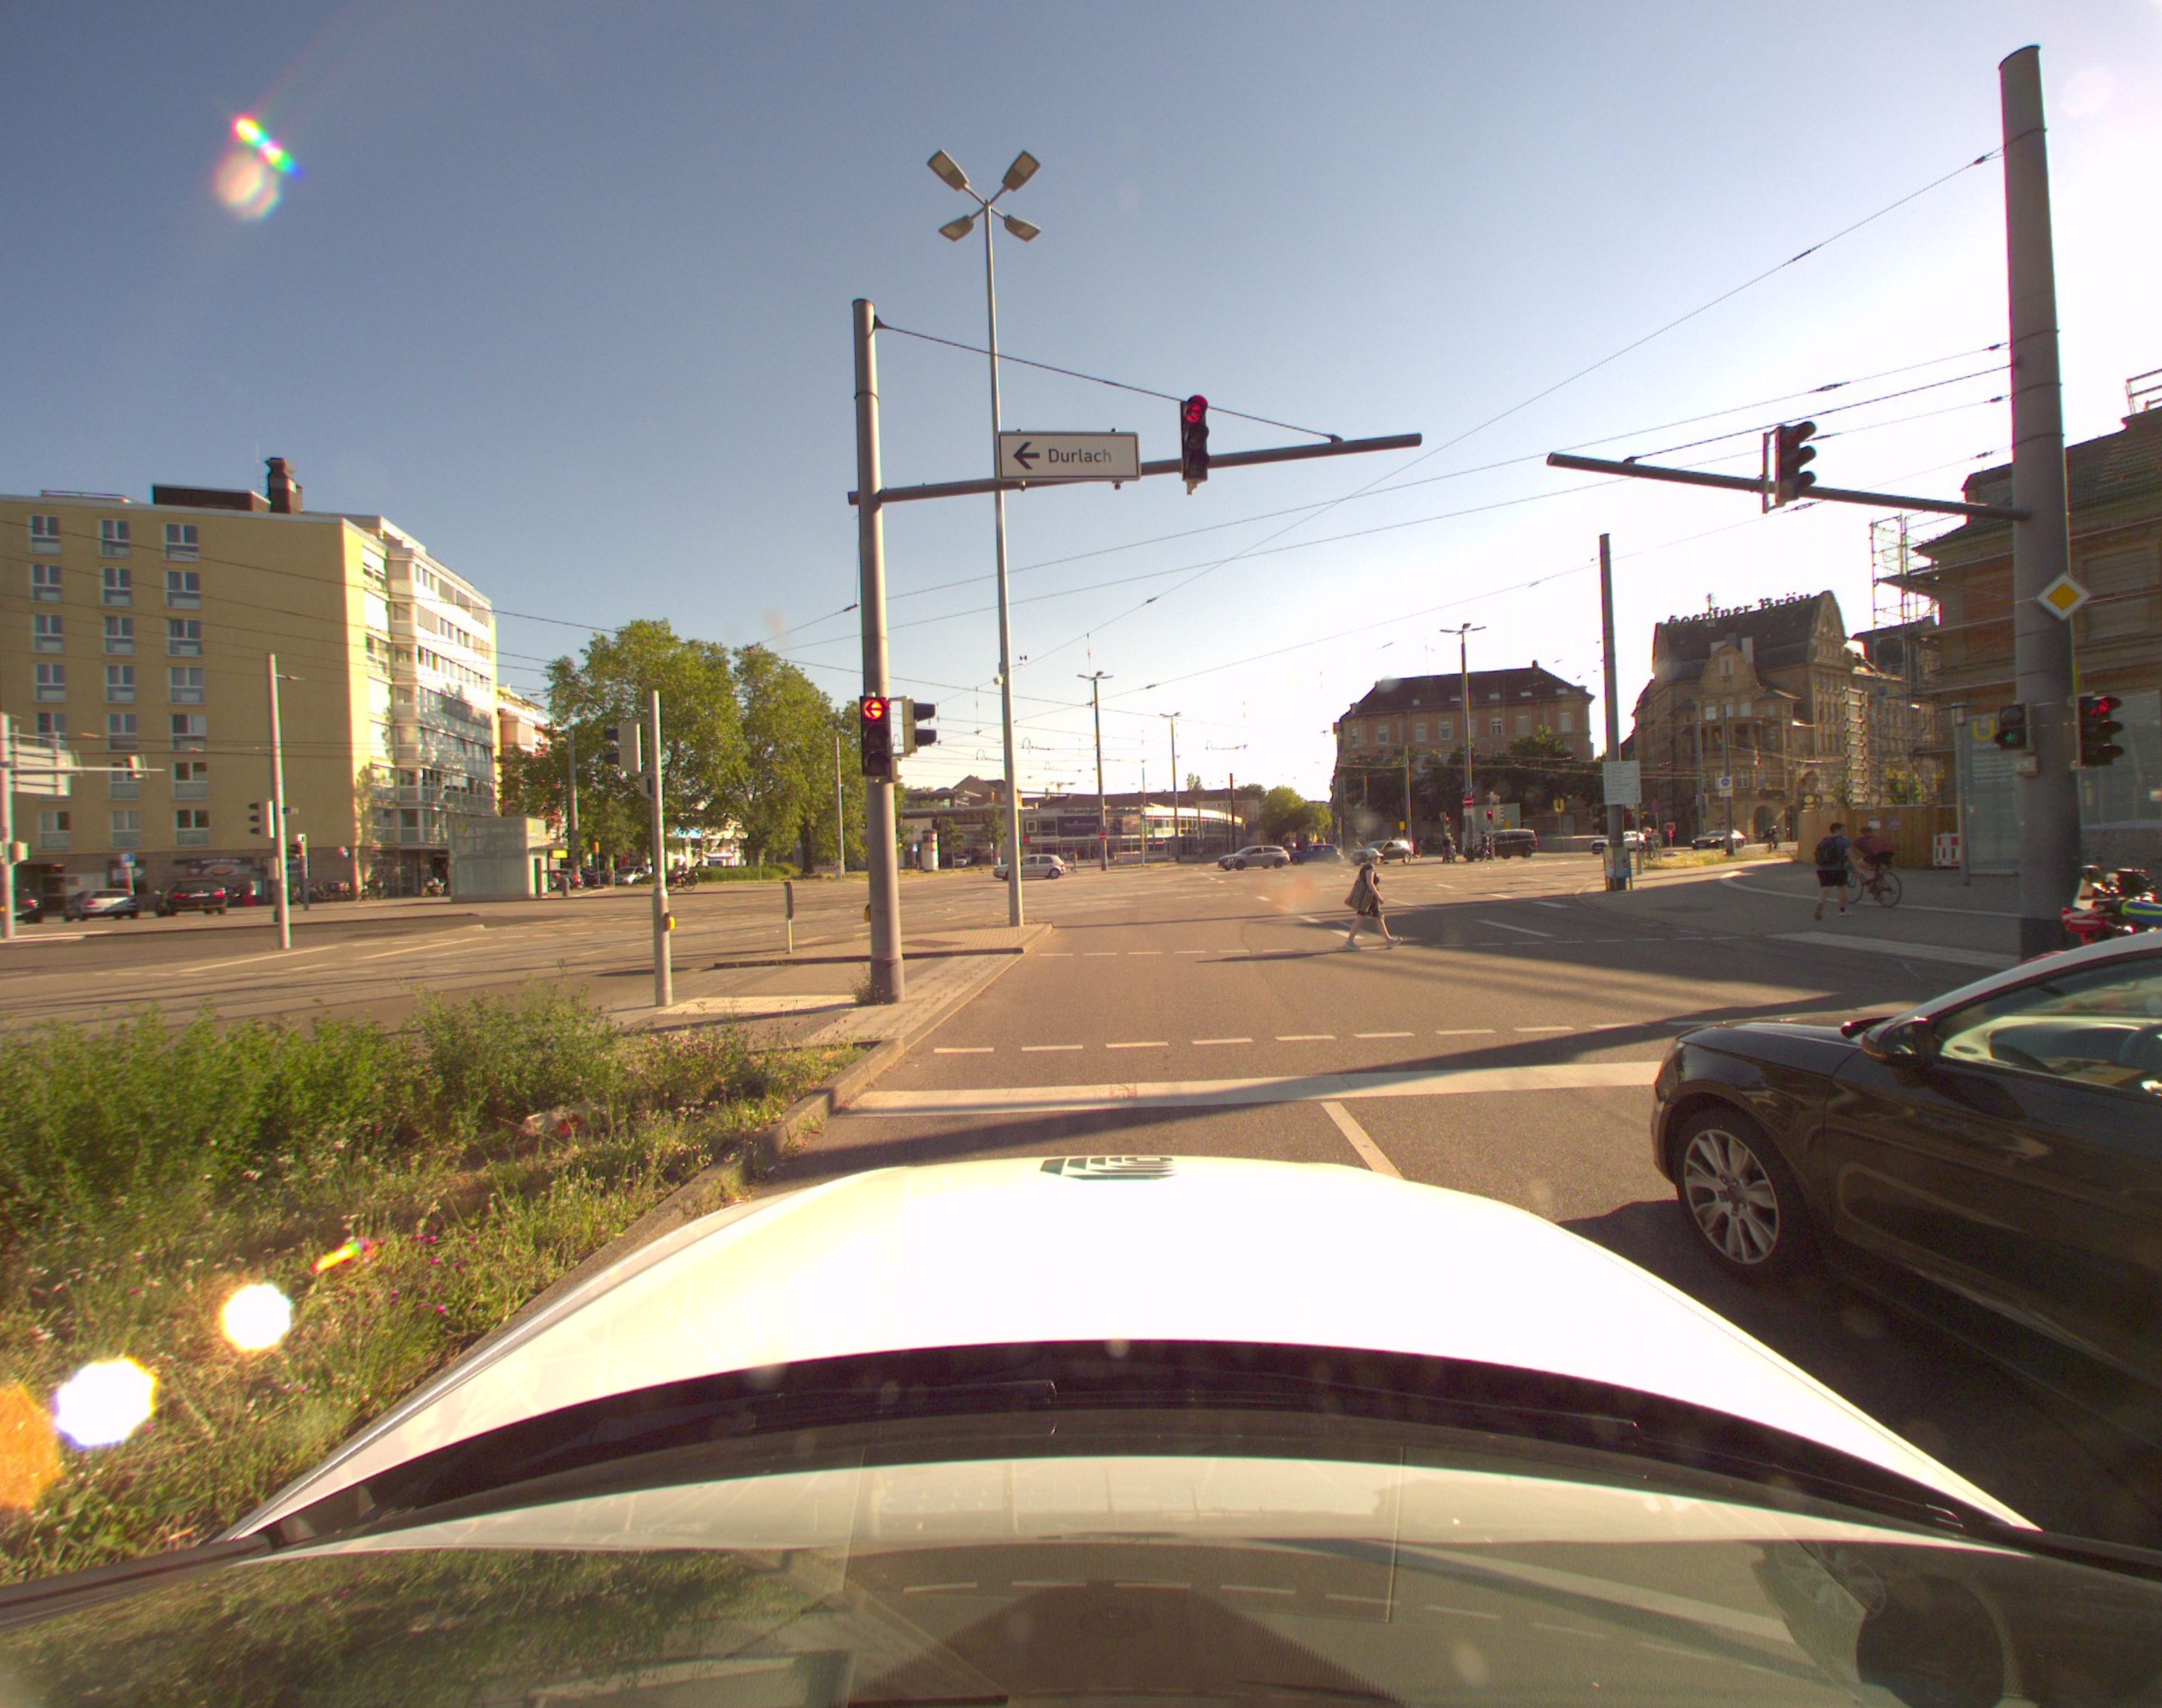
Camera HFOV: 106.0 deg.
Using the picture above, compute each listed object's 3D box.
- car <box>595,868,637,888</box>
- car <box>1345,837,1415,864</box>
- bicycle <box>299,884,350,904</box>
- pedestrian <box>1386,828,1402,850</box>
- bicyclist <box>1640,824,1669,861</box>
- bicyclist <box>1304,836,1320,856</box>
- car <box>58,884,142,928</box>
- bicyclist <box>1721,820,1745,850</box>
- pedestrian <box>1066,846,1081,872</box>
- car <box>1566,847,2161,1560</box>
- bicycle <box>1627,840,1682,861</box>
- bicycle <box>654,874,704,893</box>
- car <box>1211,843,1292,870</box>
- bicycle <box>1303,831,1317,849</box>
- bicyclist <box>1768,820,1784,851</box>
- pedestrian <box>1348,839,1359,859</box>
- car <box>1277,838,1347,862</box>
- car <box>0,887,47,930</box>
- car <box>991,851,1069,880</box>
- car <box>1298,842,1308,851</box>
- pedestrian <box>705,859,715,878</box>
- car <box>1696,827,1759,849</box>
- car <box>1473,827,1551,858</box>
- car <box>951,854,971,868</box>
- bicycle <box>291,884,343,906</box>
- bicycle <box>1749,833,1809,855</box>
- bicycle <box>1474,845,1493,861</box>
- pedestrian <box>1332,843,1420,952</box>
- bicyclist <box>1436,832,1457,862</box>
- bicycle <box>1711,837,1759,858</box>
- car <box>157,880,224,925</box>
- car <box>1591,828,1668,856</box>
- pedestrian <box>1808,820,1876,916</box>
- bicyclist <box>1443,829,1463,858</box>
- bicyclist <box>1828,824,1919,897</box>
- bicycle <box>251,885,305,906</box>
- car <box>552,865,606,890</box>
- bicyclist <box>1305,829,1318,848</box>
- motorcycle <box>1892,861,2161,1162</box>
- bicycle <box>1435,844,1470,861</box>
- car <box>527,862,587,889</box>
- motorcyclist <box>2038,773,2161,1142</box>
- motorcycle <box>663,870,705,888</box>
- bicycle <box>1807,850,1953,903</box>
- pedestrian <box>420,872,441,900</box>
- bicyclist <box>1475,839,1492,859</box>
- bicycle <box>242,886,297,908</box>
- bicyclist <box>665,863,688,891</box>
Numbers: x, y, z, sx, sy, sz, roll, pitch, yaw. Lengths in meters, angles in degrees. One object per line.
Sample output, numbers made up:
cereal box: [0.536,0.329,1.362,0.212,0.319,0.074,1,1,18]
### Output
car: [-37.055,1.868,65.003,1.849,1.452,3.982,-2,0,-13]
car: [18.149,-0.229,49.418,4.119,1.486,1.933,-2,0,-34]
bicycle: [-44.531,2.351,47.976,2.047,1.090,0.773,-2,0,-17]
pedestrian: [24.781,-1.152,64.430,0.920,1.676,0.783,-2,0,2]
bicyclist: [27.298,-0.550,38.745,0.747,1.690,0.855,-2,2,-19]
bicyclist: [18.522,-0.614,65.361,0.927,1.559,0.854,-2,2,-20]
car: [-45.927,2.378,38.119,3.949,1.748,1.851,0,2,31]
bicyclist: [37.237,-1.075,46.533,0.650,1.690,0.856,-2,2,-15]
pedestrian: [-0.508,0.355,57.450,0.986,1.816,0.920,-1,2,1]
car: [3.106,0.711,1.822,1.794,1.444,3.980,-1,0,2]
bicycle: [27.304,-0.173,38.763,2.500,0.874,0.855,-2,2,-19]
bicycle: [-23.619,1.711,47.858,2.441,1.003,0.959,-2,0,-13]
car: [10.666,0.161,51.026,4.558,1.517,1.941,-2,0,-19]
bicycle: [22.979,-1.438,81.633,1.126,1.689,4.020,-1,2,19]
bicyclist: [38.169,-1.000,44.710,0.643,1.690,0.866,0,2,39]
pedestrian: [22.225,-0.400,66.489,0.644,1.653,0.551,-2,0,-35]
car: [16.793,-0.287,59.167,4.558,1.594,1.966,-2,0,27]
car: [-49.037,2.488,37.185,3.948,1.719,1.852,0,2,33]
car: [-2.952,0.639,46.626,4.105,1.452,1.942,-2,0,-18]
car: [44.904,-1.476,164.710,1.789,1.655,3.932,-1,2,12]
pedestrian: [-39.823,1.579,87.436,0.586,2.013,0.711,-2,0,2]
car: [49.725,-1.261,62.626,4.360,1.563,1.938,-2,2,-22]
car: [28.658,-0.747,54.145,4.856,1.893,1.938,-2,0,-24]
car: [-15.067,0.900,102.482,1.989,1.534,3.996,-1,2,-3]
bicycle: [-44.247,2.372,47.181,2.047,1.090,0.773,-2,0,-17]
bicycle: [38.250,-0.557,44.675,2.469,1.133,0.866,0,2,39]
bicycle: [24.098,-0.071,48.739,0.850,0.905,2.316,0,2,22]
pedestrian: [4.574,0.648,12.664,1.092,1.606,0.697,-1,2,-8]
bicyclist: [21.736,-0.422,48.438,0.587,1.778,0.858,-2,0,-33]
bicycle: [37.403,-0.398,46.598,2.498,1.133,0.856,-2,2,-16]
car: [-43.011,2.270,39.305,3.949,1.857,1.865,0,2,38]
car: [39.213,-0.830,58.219,4.847,1.799,1.942,-2,0,-17]
pedestrian: [13.867,0.245,14.840,0.833,1.671,0.691,-3,0,-37]
bicyclist: [22.288,-0.630,48.791,0.654,1.690,0.851,-2,2,-33]
bicyclist: [15.624,0.128,16.087,0.717,1.384,1.076,-1,-1,2]
bicycle: [-46.659,2.416,47.334,2.047,1.090,0.773,-2,0,-17]
car: [-44.274,2.040,71.875,4.015,1.857,1.834,-2,2,-33]
bicyclist: [23.116,-1.569,81.683,1.109,1.900,1.079,-1,2,20]
motorcycle: [5.568,0.736,3.764,1.091,1.377,2.656,-1,0,4]
bicycle: [22.262,-0.088,48.785,2.312,0.905,0.851,-2,2,-33]
car: [-42.820,1.712,66.644,4.015,2.013,1.979,-2,0,-33]
motorcyclist: [5.565,0.473,3.779,1.091,1.721,0.937,-1,-1,3]
motorcycle: [-25.648,1.594,52.588,2.285,1.054,0.685,-2,2,-11]
bicycle: [15.629,0.437,16.043,0.717,0.952,2.251,-1,-1,3]
pedestrian: [-41.154,2.020,51.525,0.777,1.676,0.779,-2,0,-15]
bicyclist: [24.092,-0.323,48.743,0.850,1.176,0.719,-1,2,21]
bicycle: [-46.335,2.436,46.526,2.047,1.090,0.773,-2,0,-17]
bicyclist: [-23.735,1.324,47.823,0.924,1.559,0.959,-2,0,-13]
